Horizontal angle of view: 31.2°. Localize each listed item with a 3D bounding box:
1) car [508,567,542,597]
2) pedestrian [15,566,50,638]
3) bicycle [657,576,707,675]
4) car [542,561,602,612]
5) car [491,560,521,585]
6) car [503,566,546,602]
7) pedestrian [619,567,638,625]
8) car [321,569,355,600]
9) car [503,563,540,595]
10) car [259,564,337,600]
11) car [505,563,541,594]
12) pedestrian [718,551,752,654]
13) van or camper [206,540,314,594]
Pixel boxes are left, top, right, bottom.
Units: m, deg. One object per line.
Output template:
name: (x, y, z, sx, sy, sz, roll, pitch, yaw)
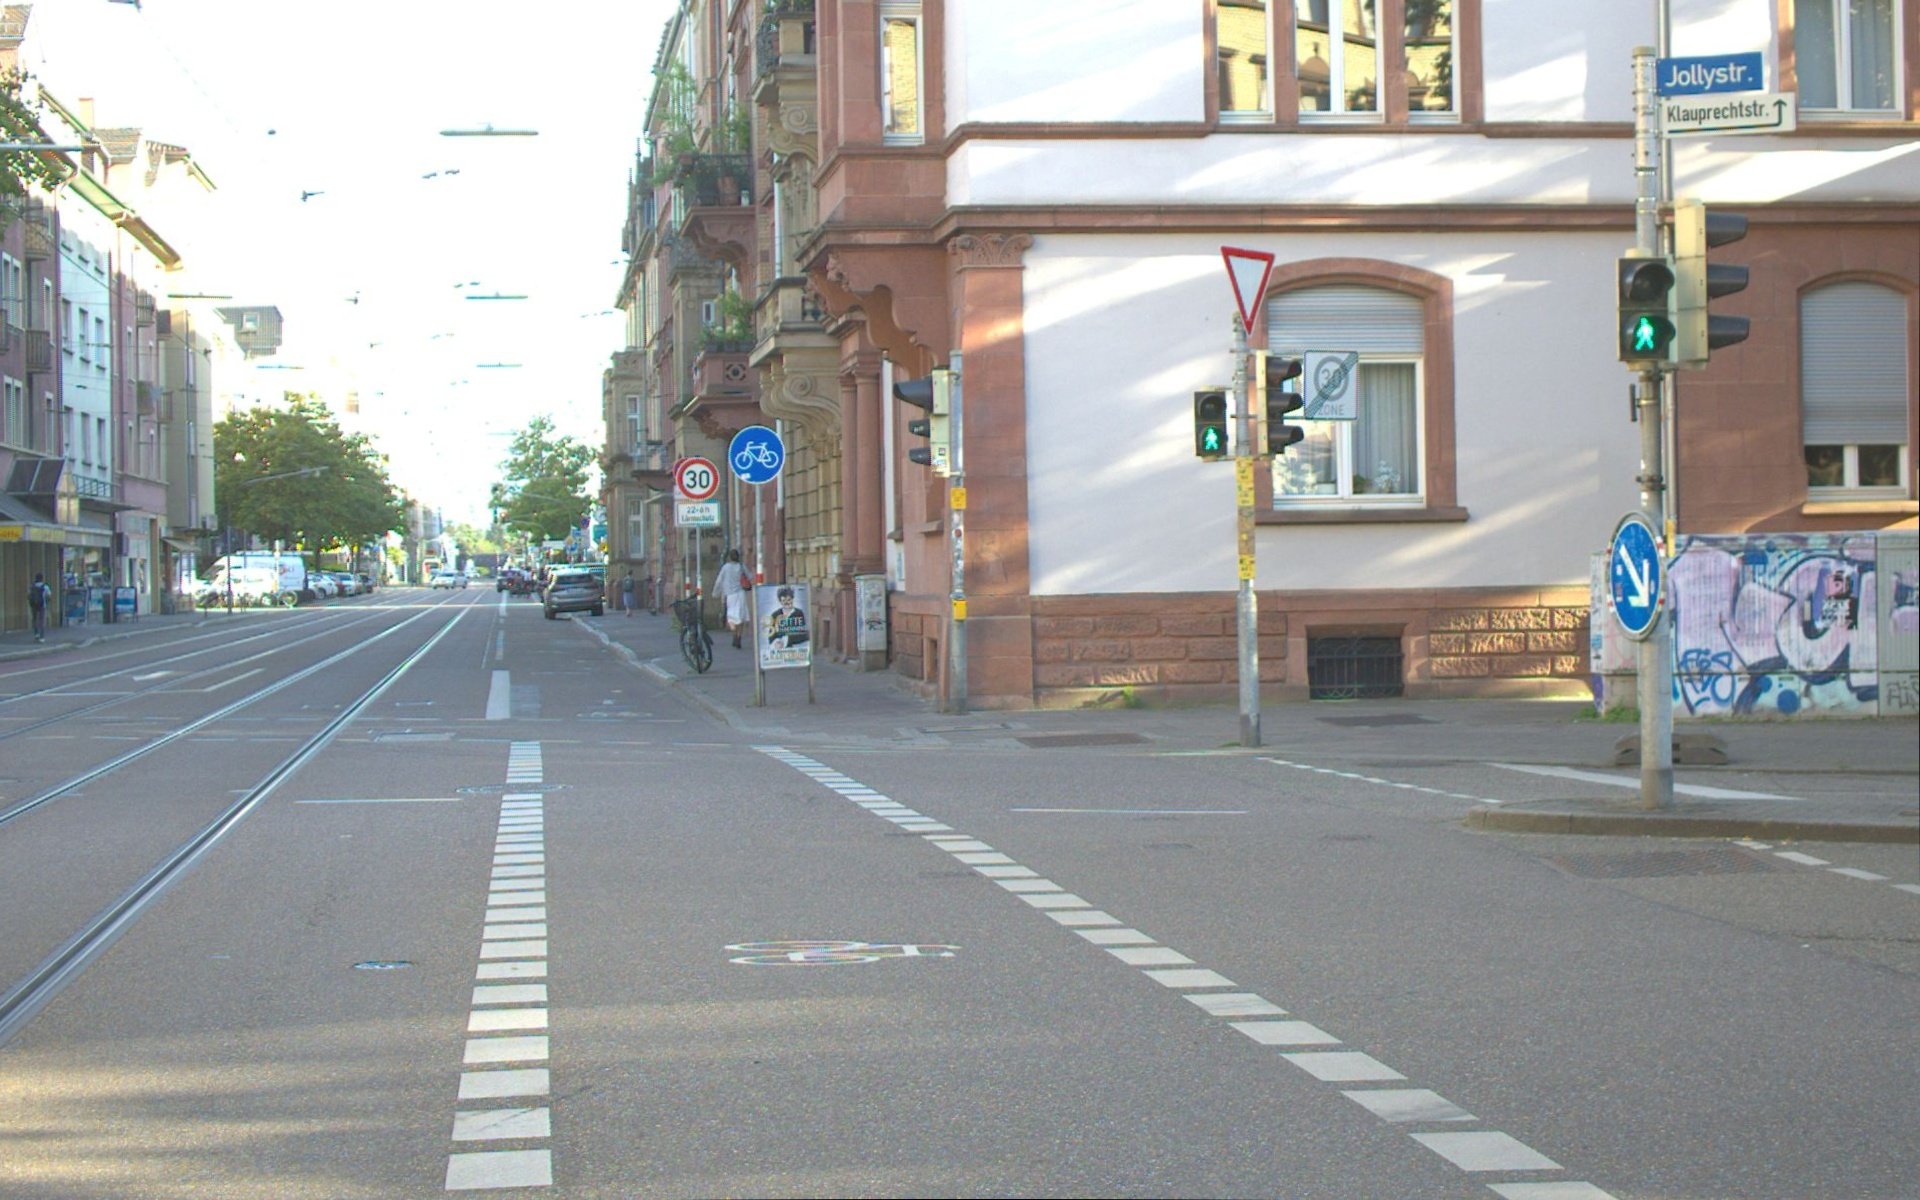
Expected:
car: (-25.847, -1.052, 204.158, 1.993, 1.722, 4.001, 0, 0, -8)
pedestrian: (-22.279, 0.044, 82.596, 0.701, 1.722, 0.648, -1, 0, -7)
bicycle: (-3.831, 0.339, 47.355, 0.653, 1.319, 2.177, -1, 1, -5)
car: (-13.087, -0.469, 116.104, 1.949, 1.678, 4.001, -1, 1, -6)
car: (-31.448, -1.907, 238.009, 1.993, 1.722, 4.001, 0, 0, -8)
car: (-20.746, -0.752, 163.661, 1.993, 1.722, 4.001, 0, 0, -8)
pedestrian: (-10.268, -0.129, 106.593, 0.544, 1.774, 0.749, -1, 0, -6)
car: (-40.868, -1.051, 225.825, 1.993, 2.007, 4.001, -1, 1, -8)
car: (-24.124, -1.126, 189.185, 1.993, 1.722, 4.001, 0, 0, -8)
car: (-38.299, -1.038, 198.905, 3.987, 2.007, 2.000, -1, 1, -32)
car: (-24.876, -1.232, 195.675, 1.993, 1.722, 4.001, 0, 0, -8)
pedestrian: (-3.901, 0.037, 59.636, 0.544, 1.774, 0.504, -1, 0, -6)
van or camper: (-33.431, -1.554, 164.235, 4.636, 2.554, 1.999, 0, 0, -38)
